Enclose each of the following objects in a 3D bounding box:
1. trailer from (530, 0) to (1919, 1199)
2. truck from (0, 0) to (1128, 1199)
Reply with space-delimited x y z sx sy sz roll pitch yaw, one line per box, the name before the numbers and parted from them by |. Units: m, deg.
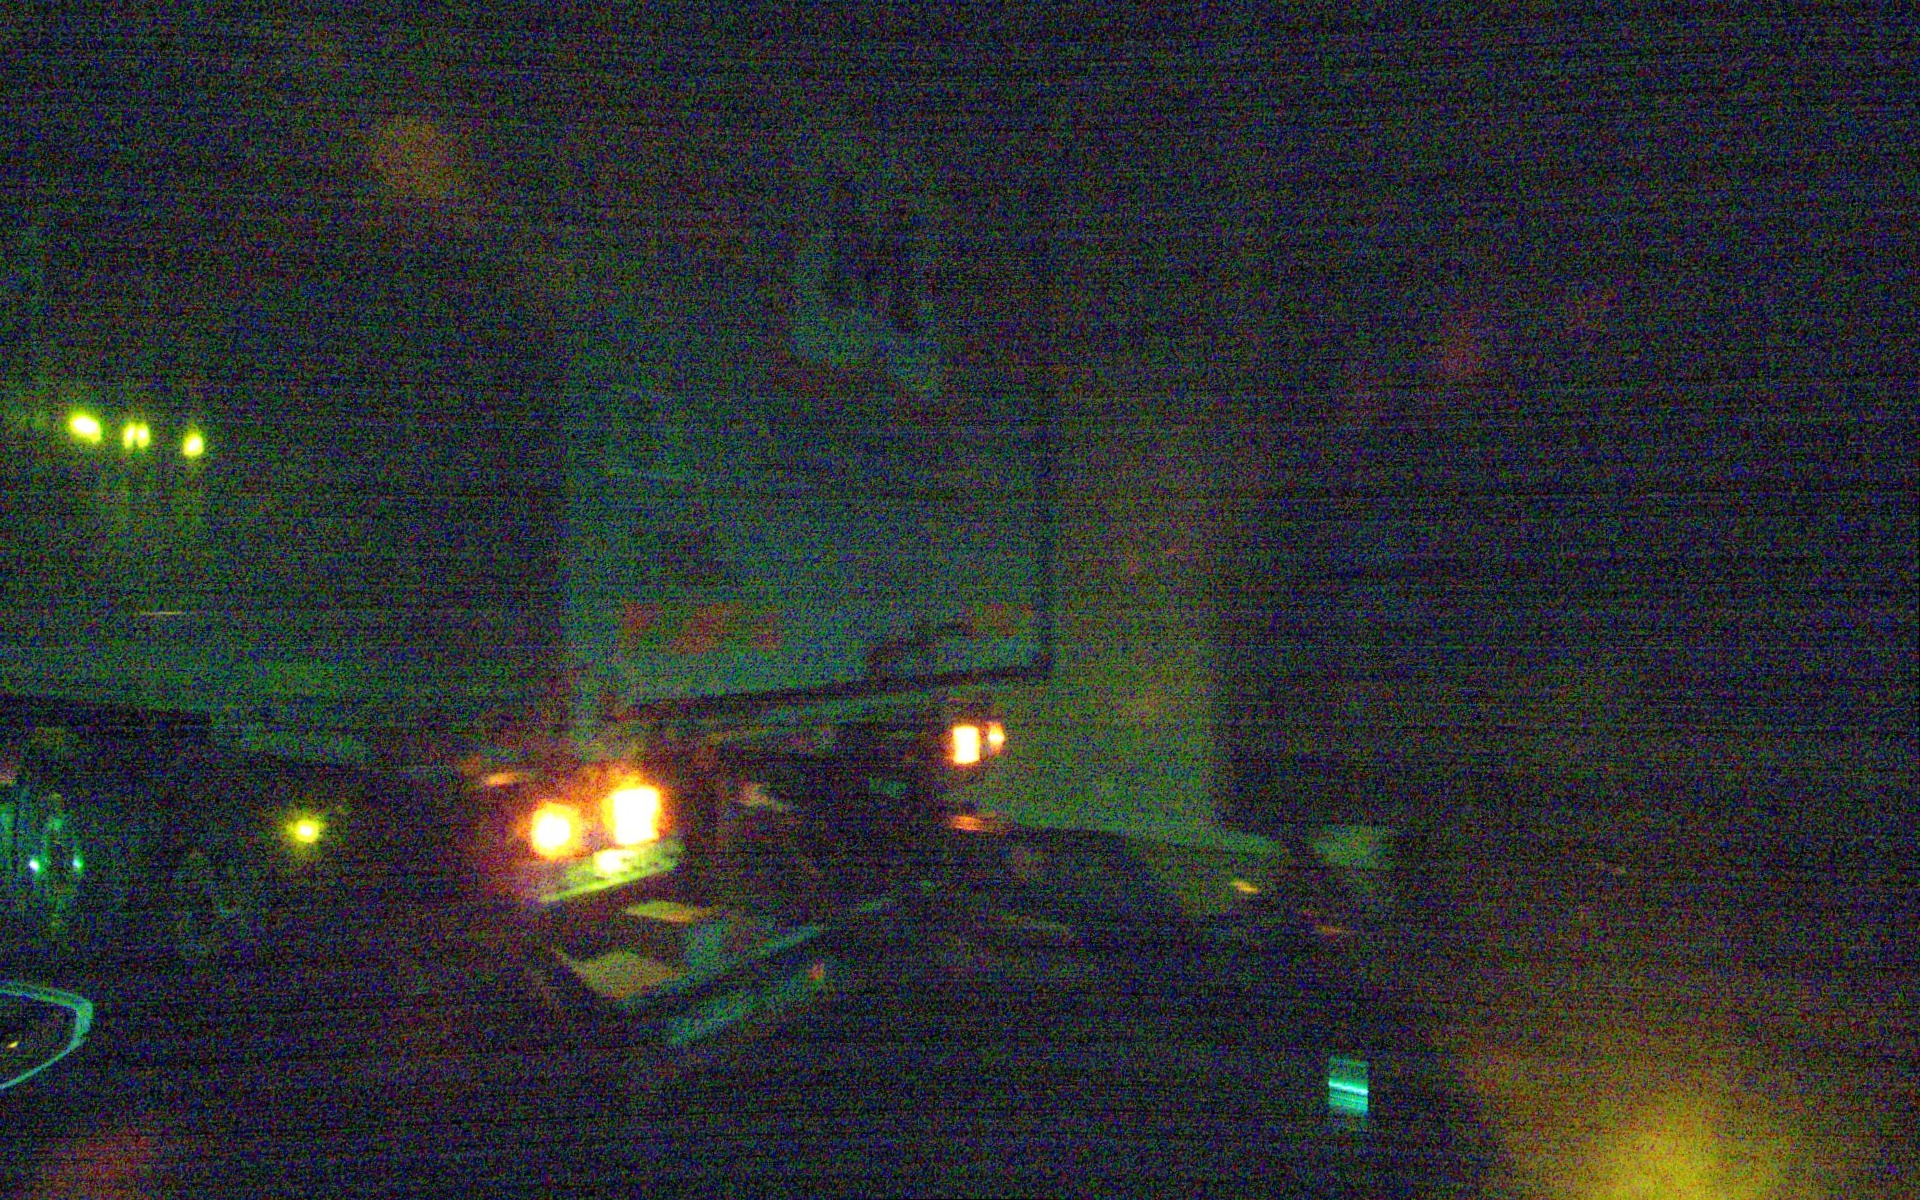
trailer | 3.616 -0.583 0.774 8.822 3.910 2.868 -1 1 33
truck | -4.132 -0.460 5.902 9.767 3.966 2.882 -1 1 33
